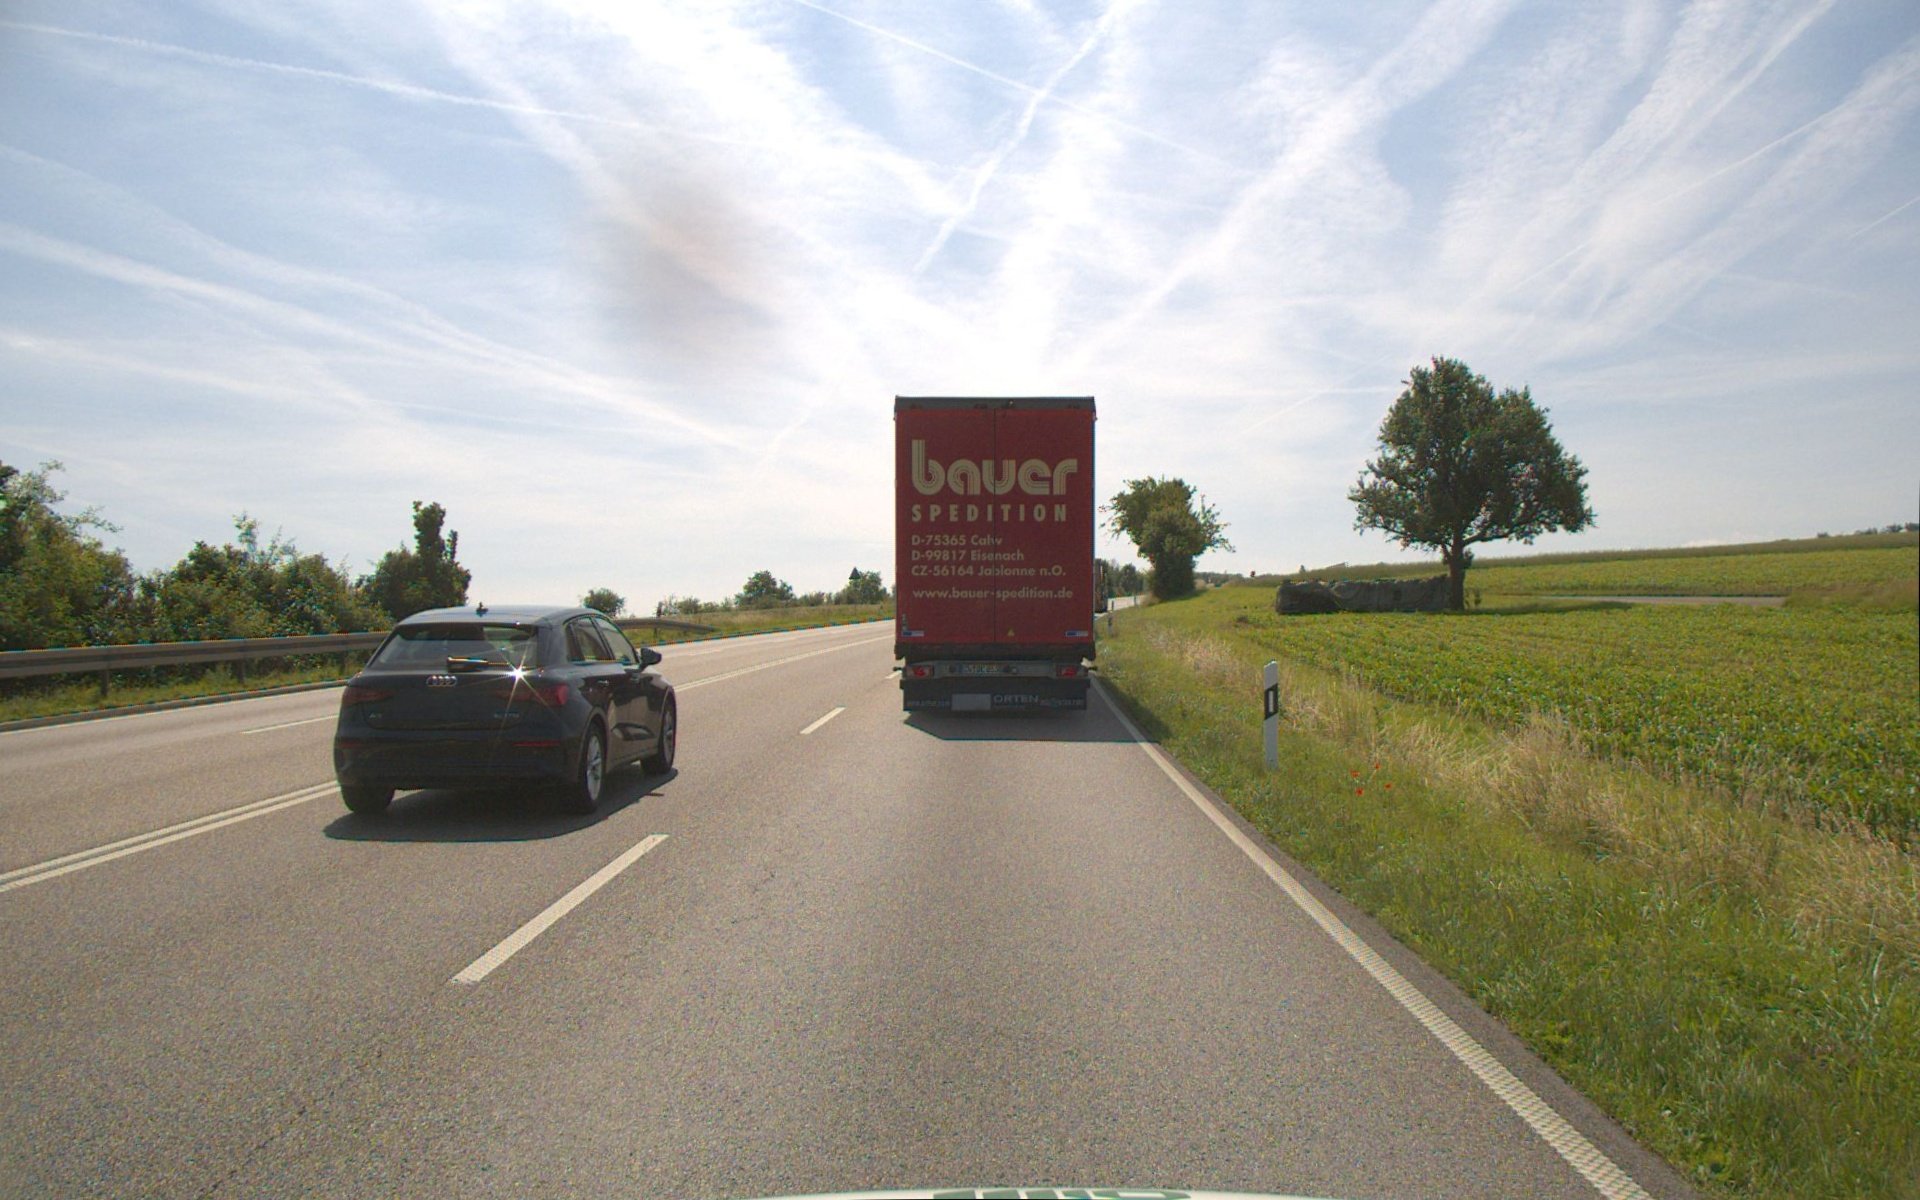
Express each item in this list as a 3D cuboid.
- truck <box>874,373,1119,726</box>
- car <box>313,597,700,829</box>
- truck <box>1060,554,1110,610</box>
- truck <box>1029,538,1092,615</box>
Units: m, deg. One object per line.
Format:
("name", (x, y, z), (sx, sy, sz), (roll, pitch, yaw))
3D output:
("truck", (0.707, -0.627, 28.417), (2.944, 4.253, 16.718), (0, 0, 2))
("car", (-3.307, 0.724, 13.082), (1.670, 1.498, 4.812), (0, 0, 1))
("truck", (9.804, -1.337, 127.915), (2.982, 3.978, 18.411), (-1, 0, 7))
("truck", (5.884, -1.263, 94.350), (2.982, 3.978, 15.626), (-1, 0, 6))
